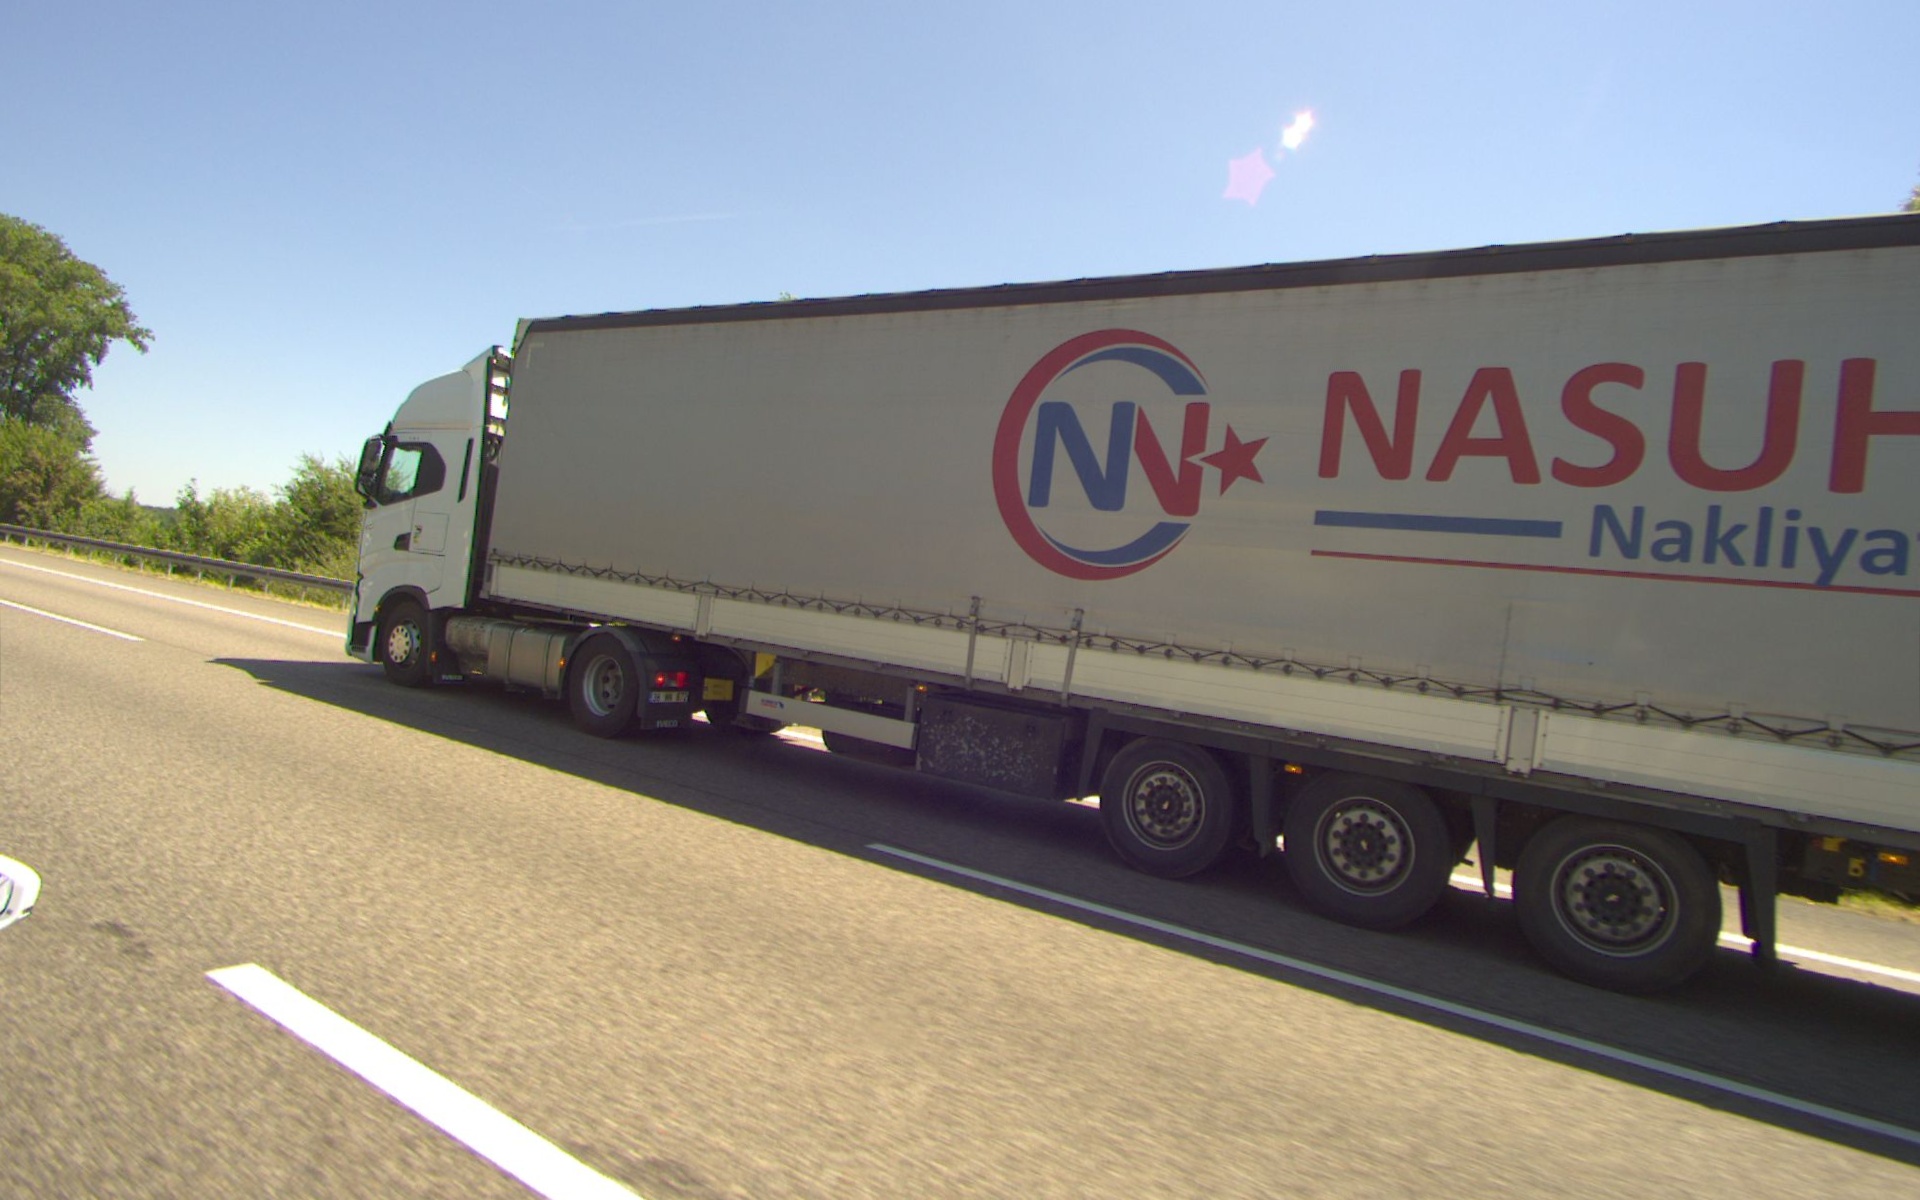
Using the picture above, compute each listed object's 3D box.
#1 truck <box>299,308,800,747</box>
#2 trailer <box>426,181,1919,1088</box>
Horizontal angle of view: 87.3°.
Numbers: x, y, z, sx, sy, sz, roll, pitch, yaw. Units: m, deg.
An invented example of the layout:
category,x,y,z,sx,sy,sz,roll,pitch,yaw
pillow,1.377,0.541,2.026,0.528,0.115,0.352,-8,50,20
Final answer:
category,x,y,z,sx,sy,sz,roll,pitch,yaw
truck,-5.109,-0.810,12.366,5.346,4.336,2.611,6,-2,32
trailer,0.871,-0.197,8.631,13.828,4.310,2.629,6,-2,32
